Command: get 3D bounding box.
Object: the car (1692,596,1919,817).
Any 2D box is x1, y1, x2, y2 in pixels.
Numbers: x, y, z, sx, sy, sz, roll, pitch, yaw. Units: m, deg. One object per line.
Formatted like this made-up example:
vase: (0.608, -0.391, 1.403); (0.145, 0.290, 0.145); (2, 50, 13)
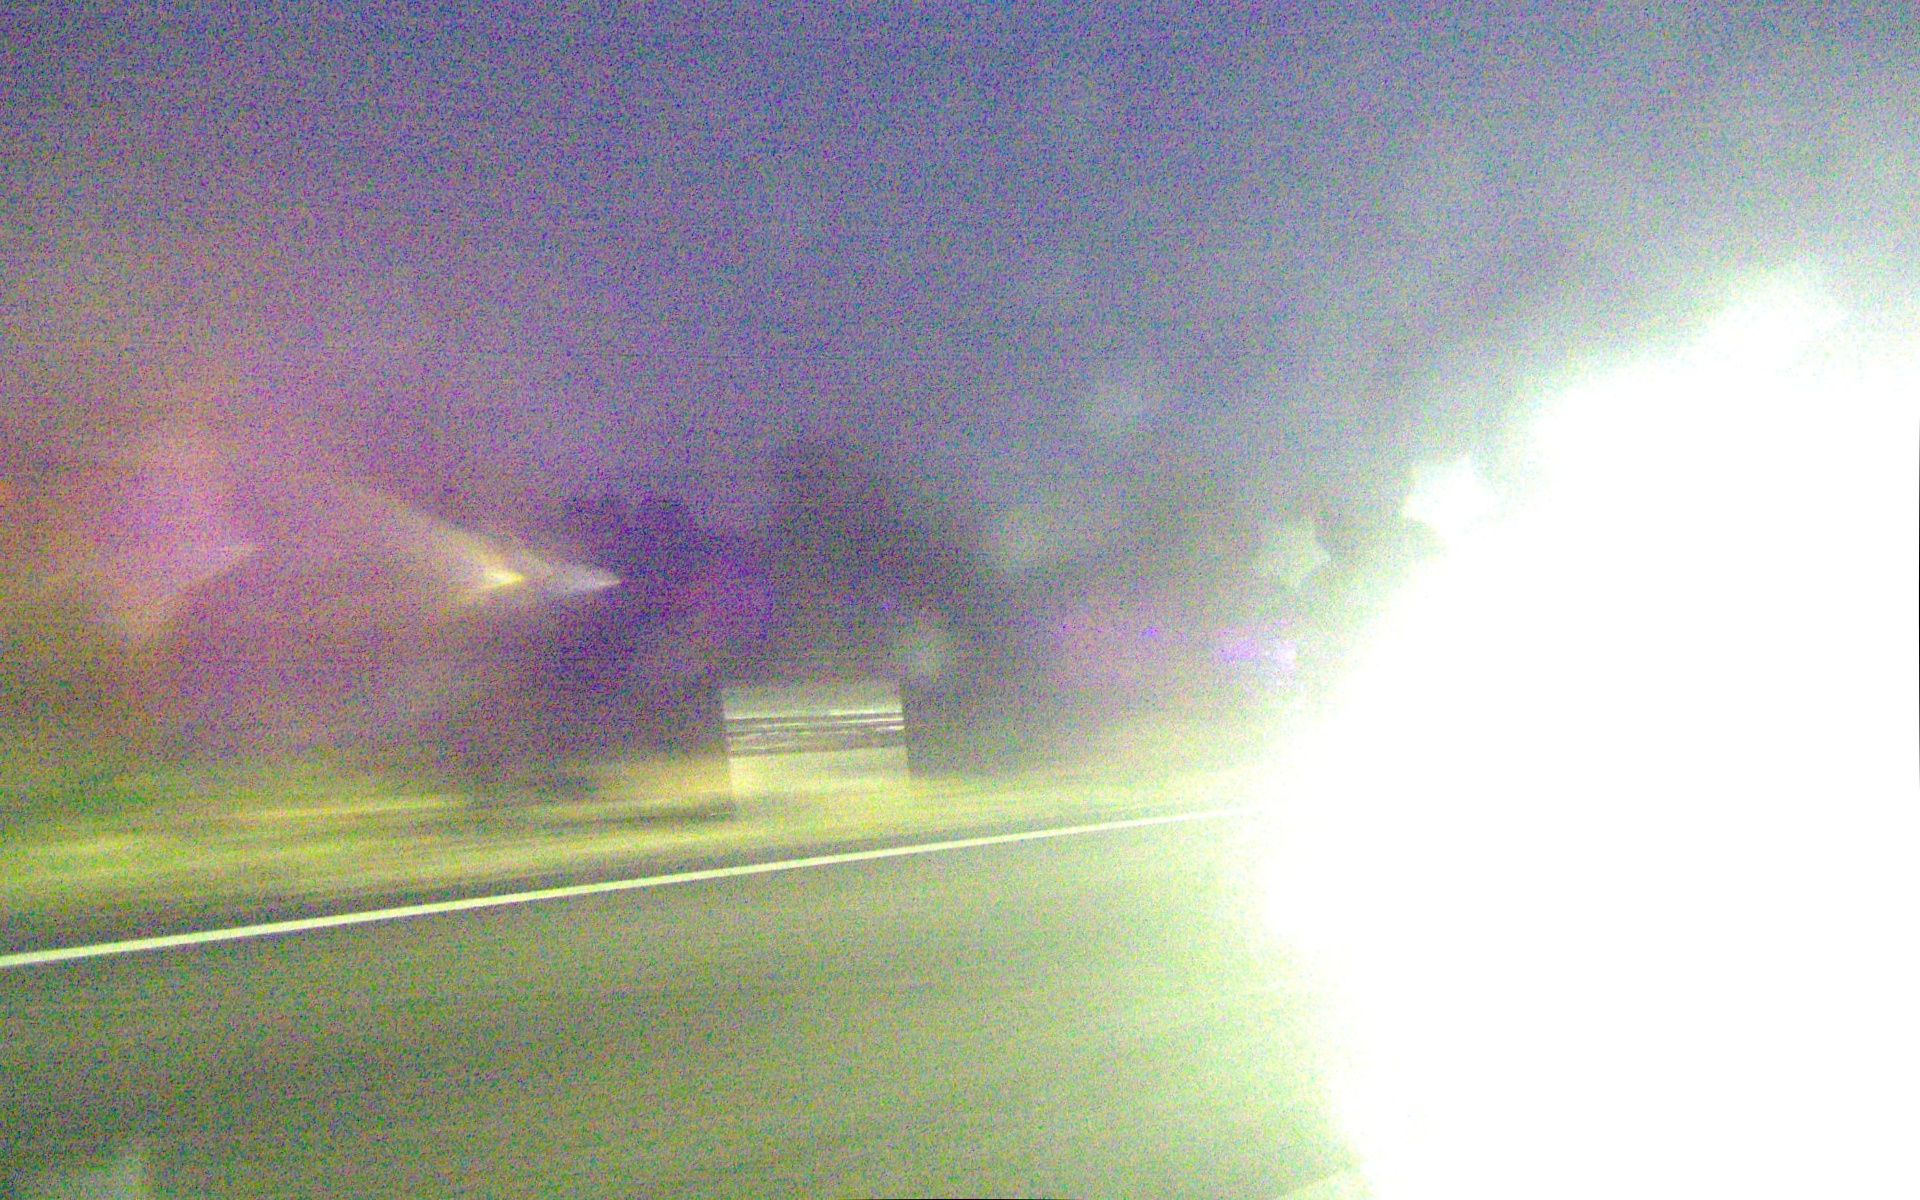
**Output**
car: (8.630, 0.837, 8.931); (3.952, 1.646, 1.984); (1, 0, -30)
